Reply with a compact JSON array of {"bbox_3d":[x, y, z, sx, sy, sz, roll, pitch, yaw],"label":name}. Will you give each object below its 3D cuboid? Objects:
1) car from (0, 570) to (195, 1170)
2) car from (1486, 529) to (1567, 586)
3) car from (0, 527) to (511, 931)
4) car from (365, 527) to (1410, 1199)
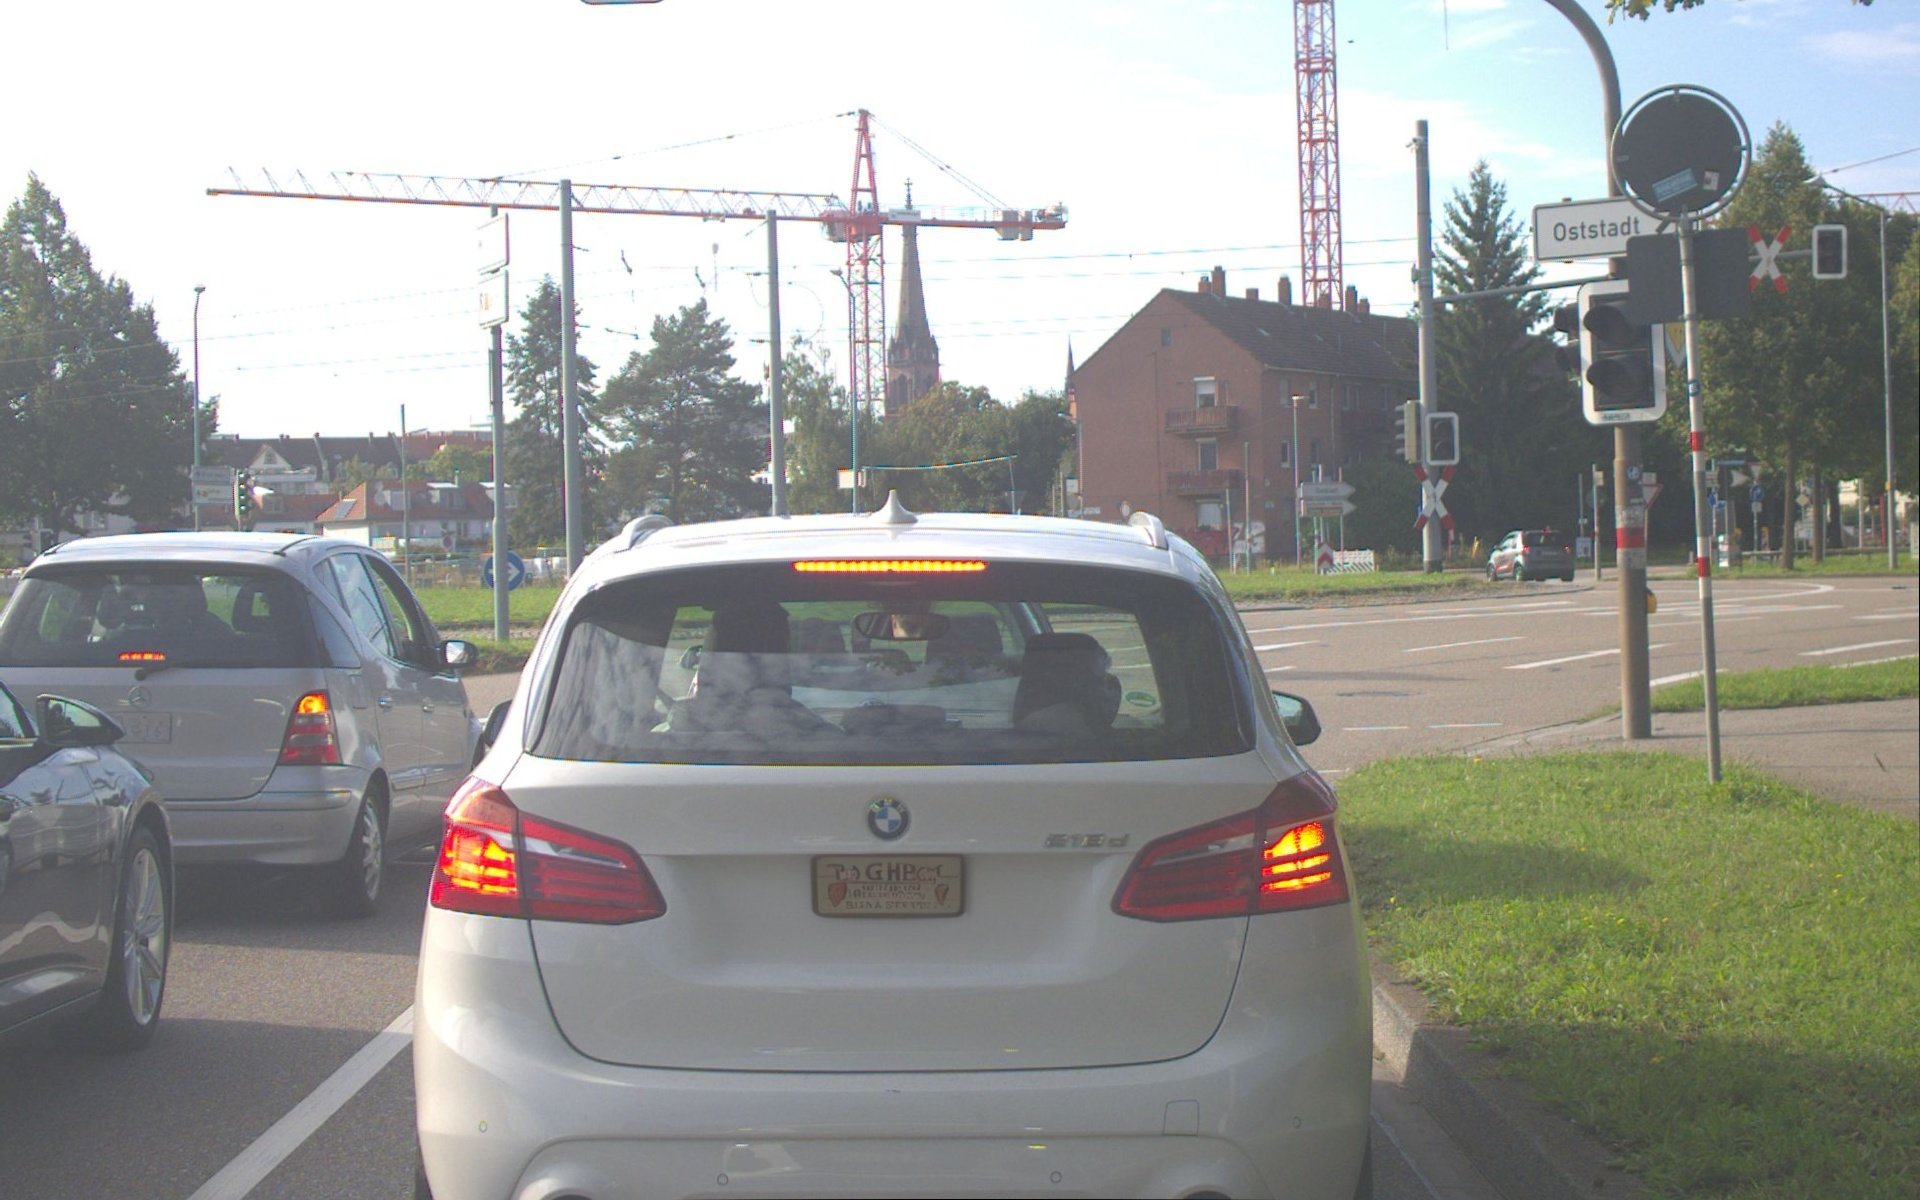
[{"bbox_3d":[-3.308,0.666,8.445,1.890,1.478,4.613,0,1,-1],"label":"car"},{"bbox_3d":[16.240,-1.212,98.671,1.569,1.568,3.199,-1,1,-4],"label":"car"},{"bbox_3d":[-3.113,0.461,15.238,1.729,1.553,4.058,0,1,0],"label":"car"},{"bbox_3d":[-0.146,0.621,7.726,1.729,1.553,4.058,0,1,-1],"label":"car"}]
